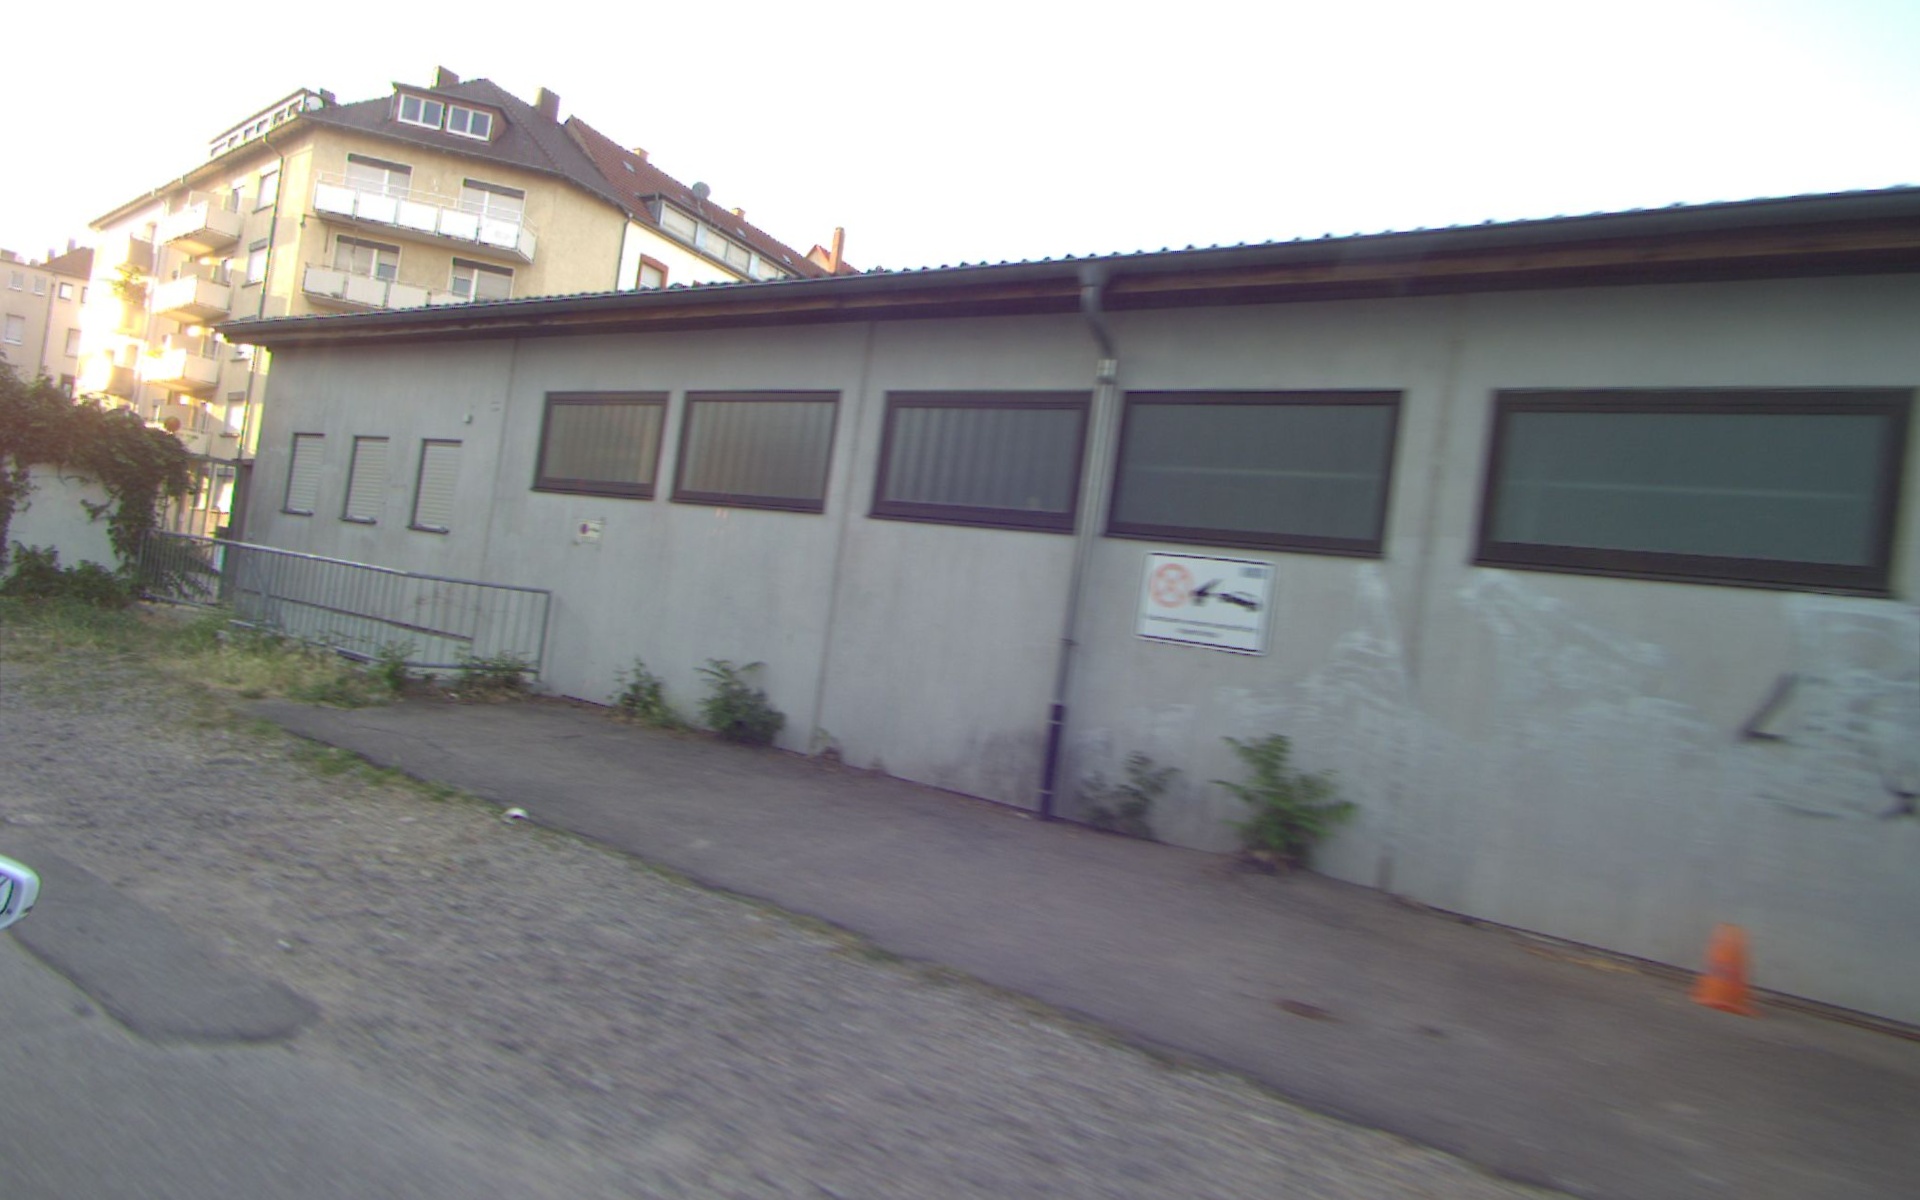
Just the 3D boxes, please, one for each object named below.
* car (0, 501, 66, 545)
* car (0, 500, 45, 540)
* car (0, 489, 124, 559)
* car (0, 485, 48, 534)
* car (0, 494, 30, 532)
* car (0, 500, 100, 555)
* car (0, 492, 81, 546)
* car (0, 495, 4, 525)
[{"bbox_3d":[-38.040,-3.204,39.317,1.630,1.467,4.308,6,-1,38],"label":"car"},{"bbox_3d":[-42.018,-3.638,42.876,1.611,1.488,4.146,6,-1,37],"label":"car"},{"bbox_3d":[-32.680,-2.764,35.648,1.715,1.881,4.282,6,-3,38],"label":"car"},{"bbox_3d":[-43.857,-4.267,44.555,2.028,1.932,4.723,6,-1,37],"label":"car"},{"bbox_3d":[-46.034,-4.286,46.348,1.790,1.657,4.324,6,-1,37],"label":"car"},{"bbox_3d":[-34.444,-2.776,36.991,1.680,1.539,3.957,7,-2,38],"label":"car"},{"bbox_3d":[-36.227,-3.187,38.324,1.630,1.715,3.790,6,-1,38],"label":"car"},{"bbox_3d":[-47.981,-4.556,47.518,1.610,1.445,3.812,6,-1,37],"label":"car"}]
